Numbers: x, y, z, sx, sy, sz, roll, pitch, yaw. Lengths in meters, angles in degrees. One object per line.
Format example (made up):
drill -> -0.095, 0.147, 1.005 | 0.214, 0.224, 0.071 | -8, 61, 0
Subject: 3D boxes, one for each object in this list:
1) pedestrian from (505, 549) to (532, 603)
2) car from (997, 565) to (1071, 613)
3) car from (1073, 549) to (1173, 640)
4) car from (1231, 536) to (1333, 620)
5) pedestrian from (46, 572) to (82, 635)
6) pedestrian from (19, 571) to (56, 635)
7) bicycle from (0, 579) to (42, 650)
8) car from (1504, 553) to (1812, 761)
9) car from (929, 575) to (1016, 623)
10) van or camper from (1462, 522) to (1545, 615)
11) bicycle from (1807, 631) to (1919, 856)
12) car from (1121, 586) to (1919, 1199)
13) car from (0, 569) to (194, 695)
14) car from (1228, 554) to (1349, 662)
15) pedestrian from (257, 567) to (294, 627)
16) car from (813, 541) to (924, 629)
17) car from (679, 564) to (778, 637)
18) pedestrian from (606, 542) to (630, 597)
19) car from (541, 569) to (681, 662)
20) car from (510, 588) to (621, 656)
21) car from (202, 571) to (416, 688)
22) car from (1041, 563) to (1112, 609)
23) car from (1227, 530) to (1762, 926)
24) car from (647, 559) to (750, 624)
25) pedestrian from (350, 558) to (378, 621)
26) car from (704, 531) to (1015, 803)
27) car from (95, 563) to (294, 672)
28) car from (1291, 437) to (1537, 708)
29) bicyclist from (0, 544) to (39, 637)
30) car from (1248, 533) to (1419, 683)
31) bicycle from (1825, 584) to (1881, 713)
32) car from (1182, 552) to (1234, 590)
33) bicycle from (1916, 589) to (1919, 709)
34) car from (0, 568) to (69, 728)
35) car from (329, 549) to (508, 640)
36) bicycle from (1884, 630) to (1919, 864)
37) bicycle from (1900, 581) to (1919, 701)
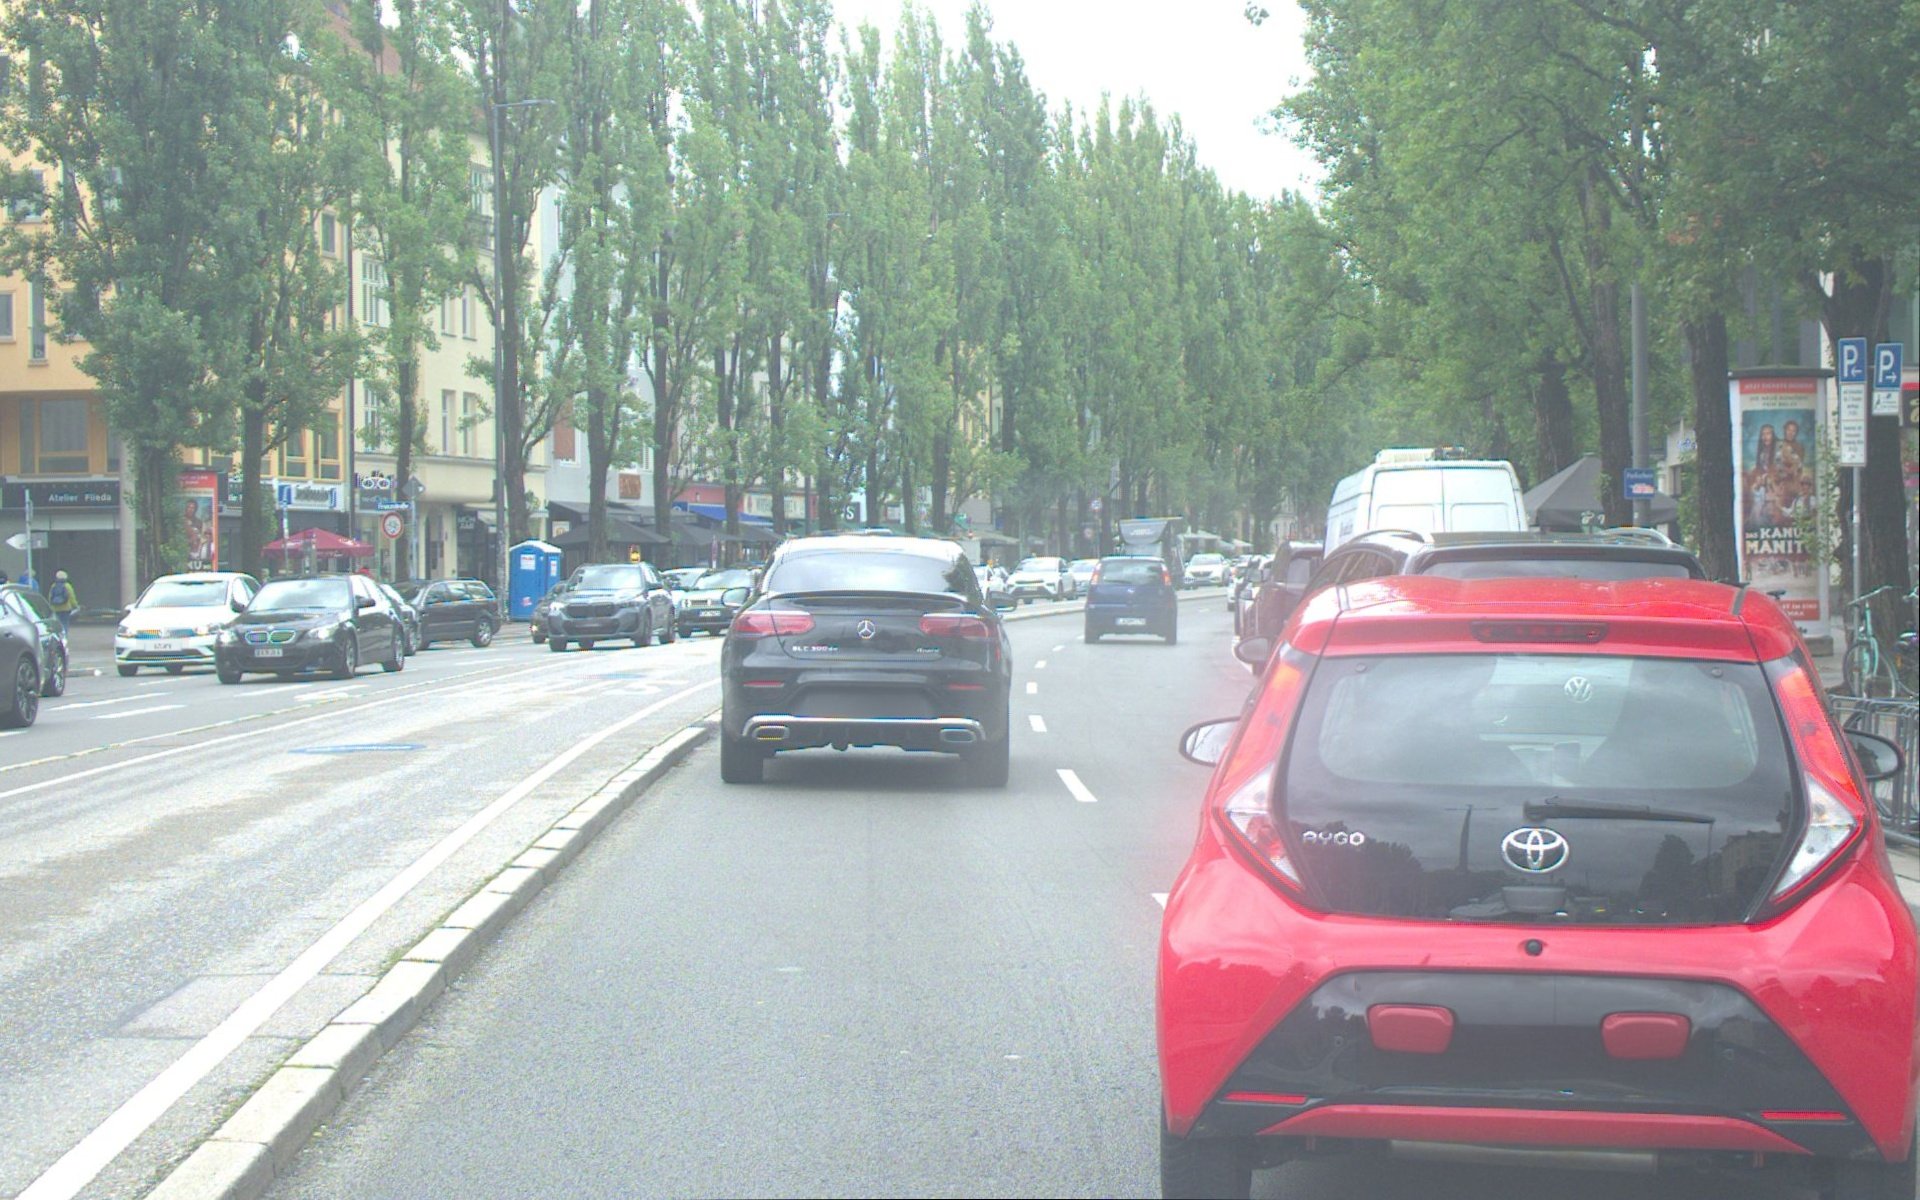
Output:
pedestrian -> -13.933, -0.762, 108.499 | 0.638, 1.694, 0.647 | -1, 1, 12
car -> 2.626, -0.403, 120.569 | 1.910, 1.597, 4.353 | -1, 1, 10
car -> 3.035, -0.100, 63.459 | 1.759, 1.614, 3.746 | 1, 0, 4
car -> 6.818, -0.452, 72.429 | 1.925, 1.694, 4.648 | 1, 0, 8
pedestrian -> -20.506, 0.073, 78.679 | 0.632, 1.430, 0.778 | -1, 1, -2
pedestrian -> -21.126, 0.065, 78.707 | 0.632, 1.430, 0.778 | -1, 1, -2
bicycle -> -16.317, 0.246, 59.400 | 0.368, 1.197, 1.153 | -1, 1, 13
car -> 5.359, 0.383, 26.858 | 1.725, 1.449, 4.147 | 2, 1, 3
car -> 0.424, -0.045, 107.020 | 1.800, 1.389, 4.688 | -1, 1, 11
van or camper -> 18.810, -1.103, 118.859 | 2.461, 3.101, 4.713 | -1, 1, 13
bicycle -> 5.003, 0.728, 16.713 | 1.574, 1.050, 0.545 | 4, 3, 37
car -> 1.288, 0.702, 8.708 | 1.665, 1.441, 3.595 | 1, 0, 4
car -> -11.965, 0.396, 46.068 | 1.959, 1.541, 4.947 | -1, 1, 4
car -> 5.304, 0.091, 55.954 | 1.727, 1.680, 4.408 | 0, 1, 3
pedestrian -> -17.957, -0.076, 90.194 | 0.634, 1.556, 0.815 | -1, 1, 13
car -> -2.796, -0.498, 106.193 | 2.171, 2.596, 6.061 | -1, 1, 10
car -> -5.320, -0.001, 79.417 | 1.817, 1.540, 4.000 | -3, 1, 2
pedestrian -> -11.651, -1.033, 117.199 | 0.638, 1.855, 0.647 | -1, 1, 12
car -> -6.533, 0.258, 64.794 | 1.993, 1.615, 4.413 | -2, 1, 2
car -> -9.053, 0.486, 79.158 | 1.784, 1.461, 4.000 | -1, 1, 4
car -> -9.006, 0.367, 47.923 | 1.836, 1.482, 4.734 | -1, 1, 3
car -> 4.414, -0.546, 129.609 | 1.994, 1.583, 5.193 | -2, 0, 9
car -> 2.337, 0.495, 16.086 | 1.761, 1.608, 4.184 | 0, 1, -1
car -> -6.637, -0.232, 87.684 | 1.953, 1.584, 3.999 | -1, 1, 5
pedestrian -> -16.525, -0.289, 95.328 | 0.539, 1.741, 0.755 | 0, 1, 12
car -> -0.631, 0.379, 23.374 | 1.880, 1.636, 4.583 | -1, 1, 0
car -> -11.894, 0.244, 53.701 | 1.993, 1.595, 4.289 | -1, 1, 2
car -> 4.887, -0.286, 37.775 | 1.993, 2.732, 5.554 | 1, 0, 1
bicyclist -> -16.348, -0.167, 59.372 | 0.502, 1.587, 0.834 | -1, 1, 12
car -> 4.737, 0.067, 44.196 | 1.929, 1.799, 4.779 | 1, 1, 3
bicycle -> 8.400, 0.438, 32.313 | 0.478, 1.156, 1.824 | 0, 1, 15
car -> 11.745, -1.369, 162.760 | 1.861, 1.705, 4.534 | -2, 1, 11
bicycle -> 9.485, 0.487, 32.387 | 0.477, 1.156, 1.633 | 0, 1, -1
car -> -10.117, 0.486, 32.079 | 1.994, 1.502, 5.021 | -1, 1, 4
car -> -11.194, -0.111, 71.319 | 1.758, 1.809, 3.995 | 1, 0, 24
bicycle -> 5.123, 0.719, 15.357 | 1.800, 1.050, 0.545 | 4, 3, 37
bicycle -> 10.080, 0.398, 33.716 | 1.629, 1.156, 0.705 | 0, 1, 12
